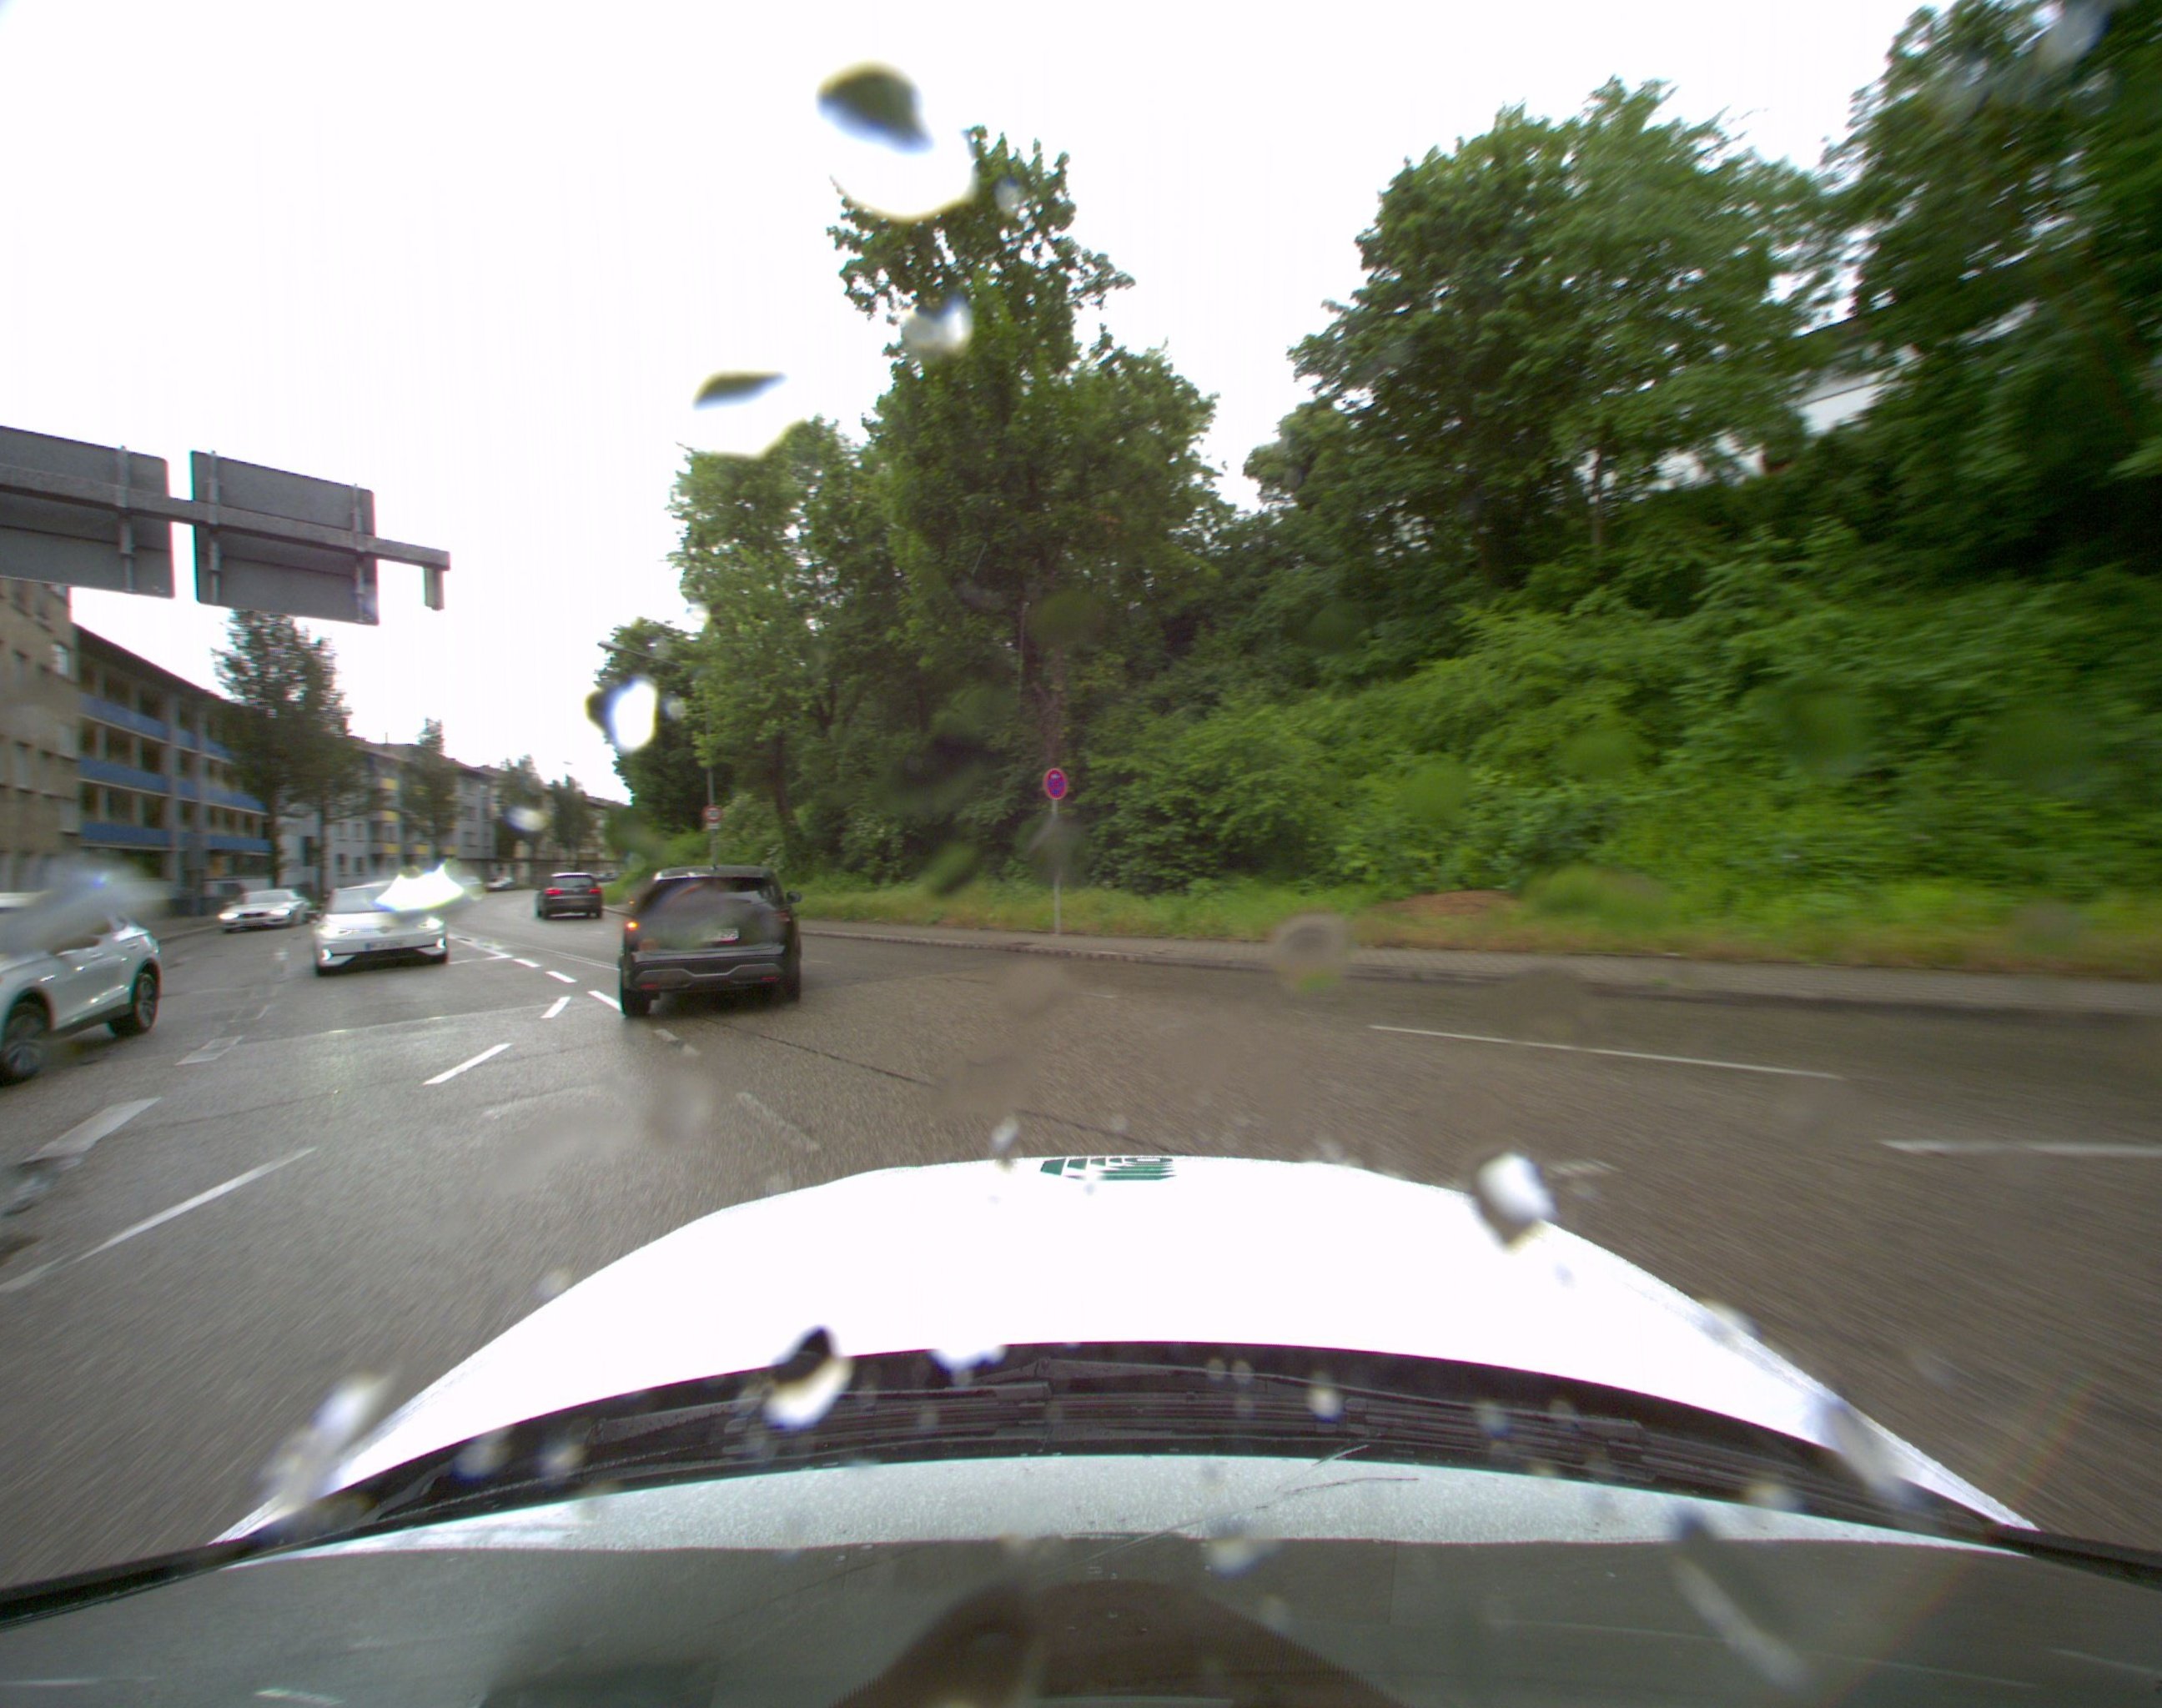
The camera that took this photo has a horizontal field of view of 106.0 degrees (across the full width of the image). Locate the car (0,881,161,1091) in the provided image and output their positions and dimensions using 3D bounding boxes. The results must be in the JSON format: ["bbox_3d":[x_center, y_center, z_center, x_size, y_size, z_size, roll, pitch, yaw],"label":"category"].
[{"bbox_3d":[-10.488,1.125,7.429,1.852,1.671,4.424,-1,-1,-36],"label":"car"}]

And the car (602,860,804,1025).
[{"bbox_3d":[-4.604,0.892,10.053,1.854,1.582,3.967,0,-1,-25],"label":"car"}]

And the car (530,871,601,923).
[{"bbox_3d":[-18.824,1.503,29.641,1.902,1.711,3.955,-1,-1,-36],"label":"car"}]

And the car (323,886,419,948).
[{"bbox_3d":[-19.409,1.633,22.283,1.806,1.407,4.569,-2,0,-42],"label":"car"}]

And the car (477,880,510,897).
[{"bbox_3d":[-58.424,3.414,81.054,1.732,1.453,4.172,-2,-1,-24],"label":"car"}]

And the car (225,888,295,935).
[{"bbox_3d":[-30.101,2.060,29.927,1.673,1.455,3.950,-3,1,-44],"label":"car"}]

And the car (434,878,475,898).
[{"bbox_3d":[-54.480,2.953,70.901,1.772,1.604,4.496,-2,0,-24],"label":"car"}]

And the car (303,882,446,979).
[{"bbox_3d":[-13.561,1.341,15.547,1.801,1.496,4.164,-3,0,-44],"label":"car"}]

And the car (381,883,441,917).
[{"bbox_3d":[-32.005,2.173,38.998,1.765,1.425,4.488,-2,0,-34],"label":"car"}]
